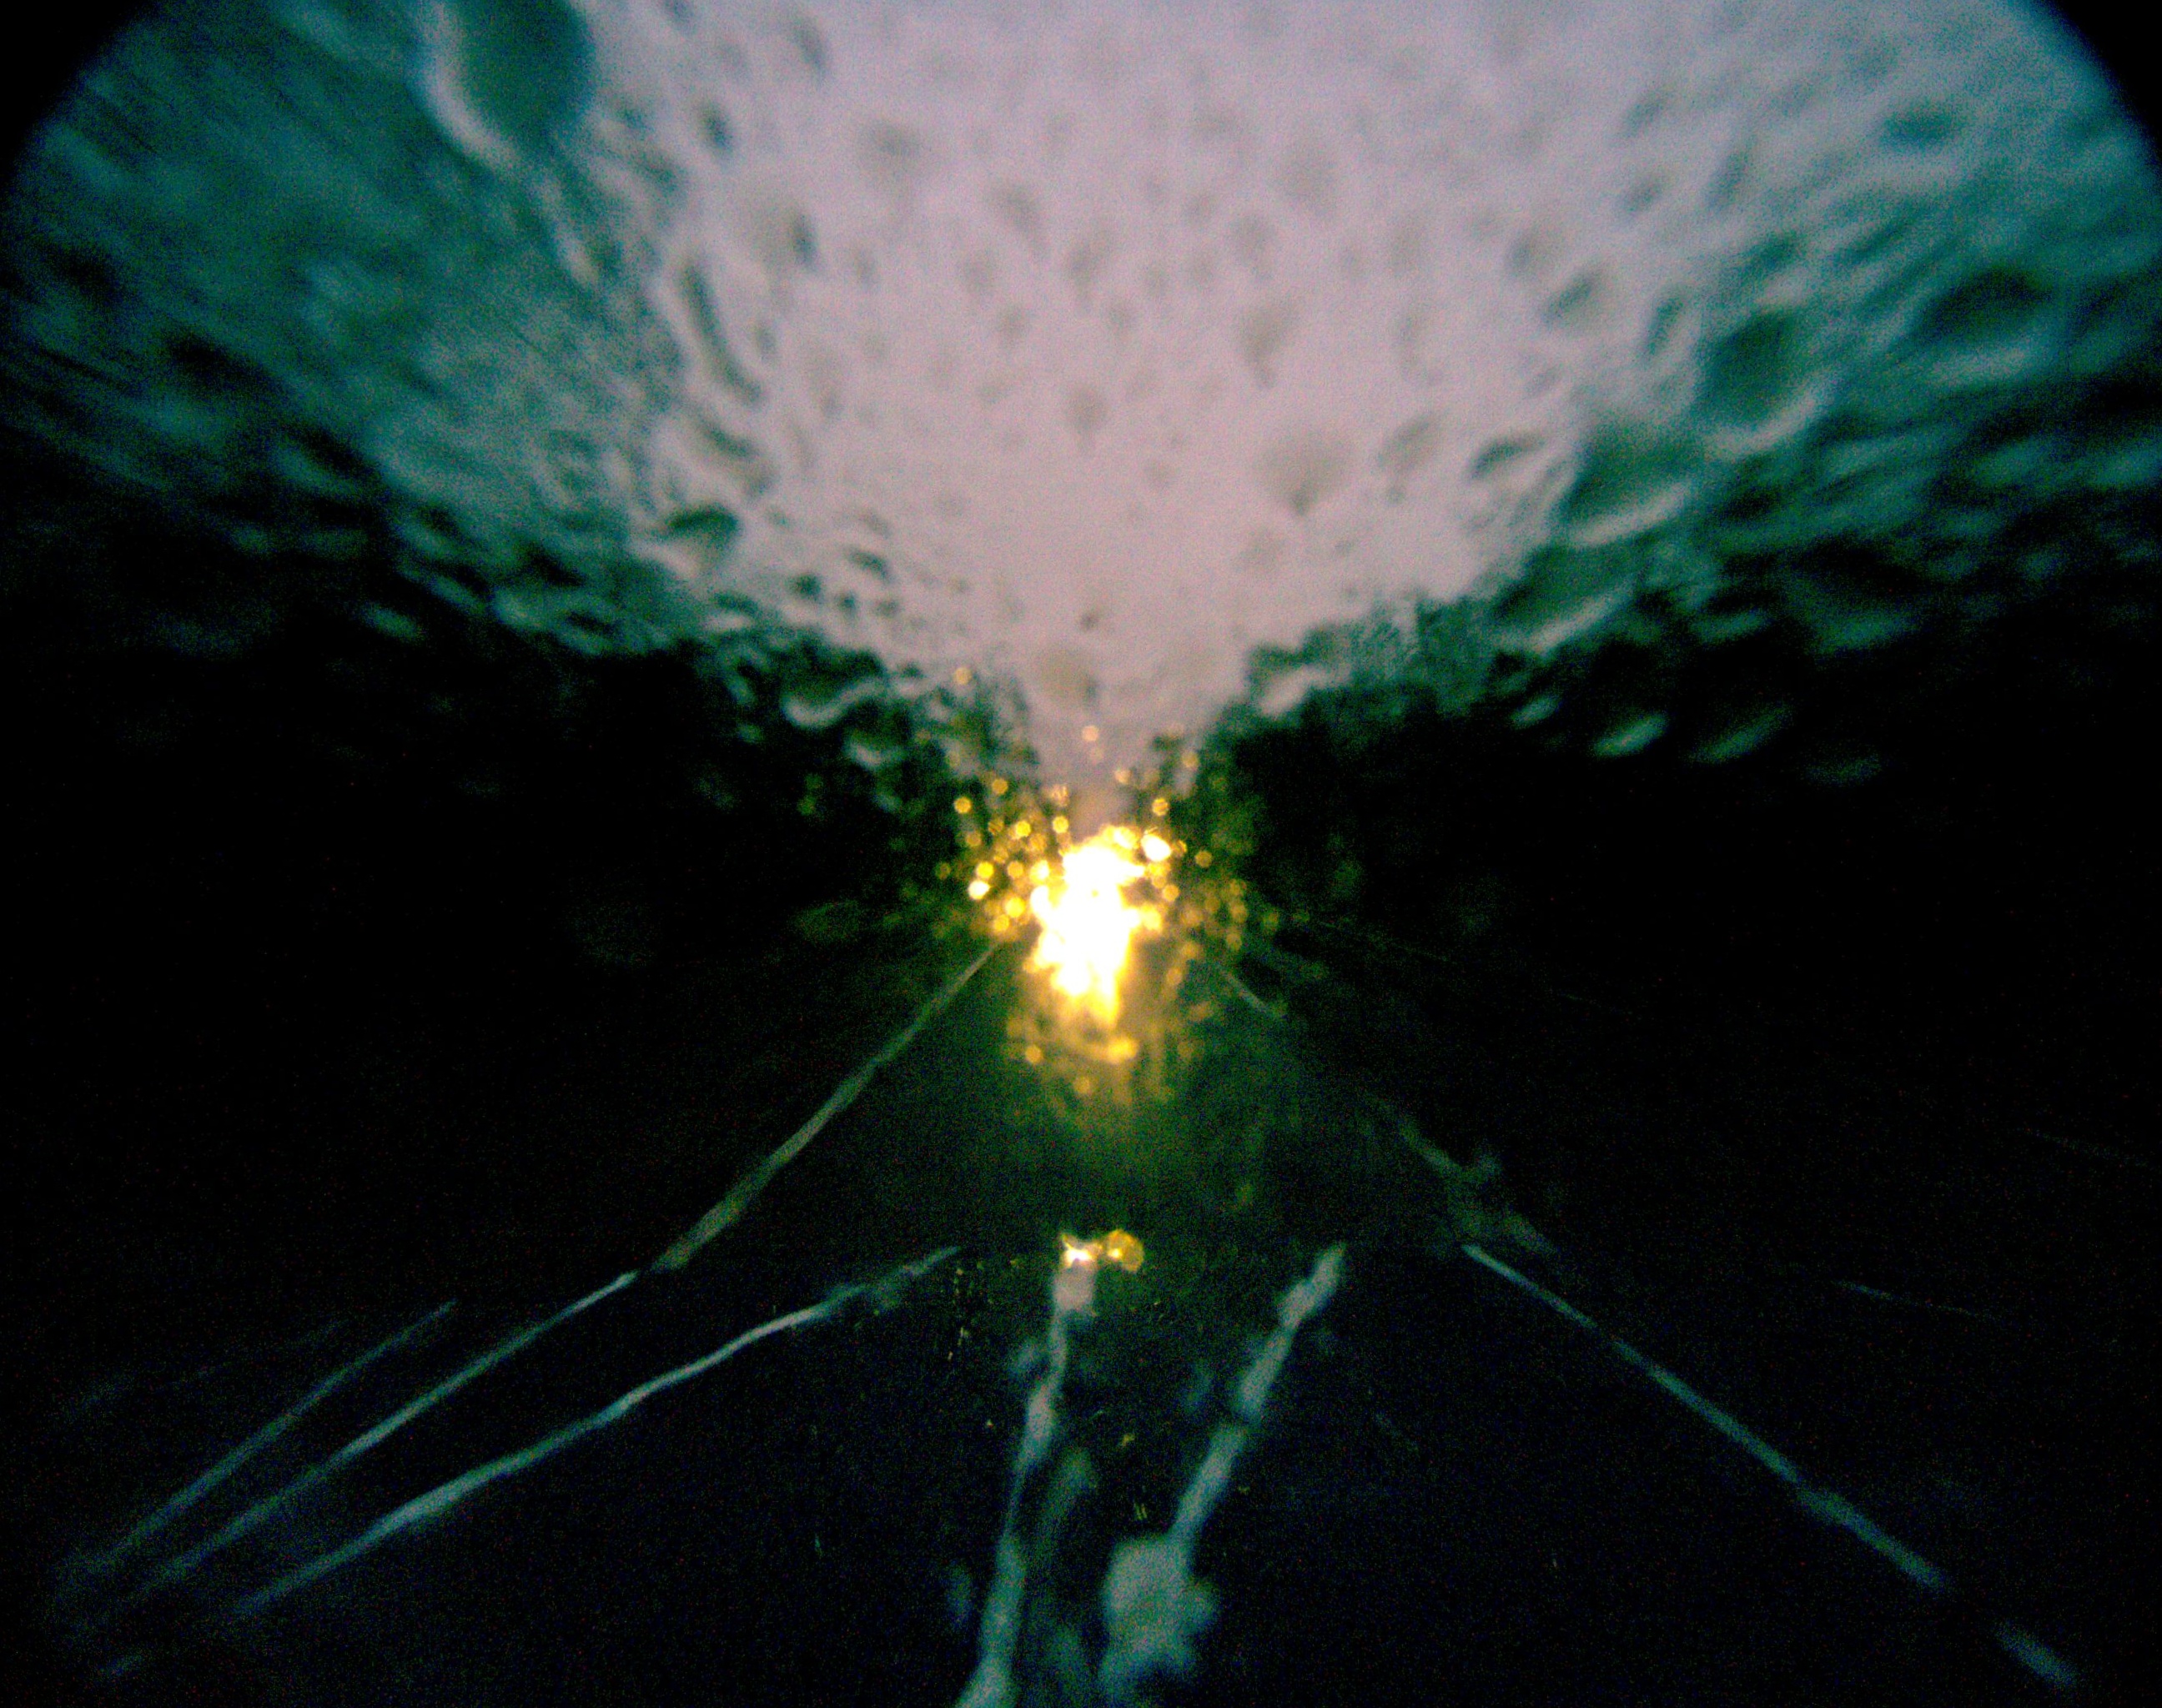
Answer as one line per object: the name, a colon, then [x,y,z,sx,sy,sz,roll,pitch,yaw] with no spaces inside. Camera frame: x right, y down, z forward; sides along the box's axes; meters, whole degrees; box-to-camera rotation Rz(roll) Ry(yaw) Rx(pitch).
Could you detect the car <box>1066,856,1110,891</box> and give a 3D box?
car: [0.345,0.831,34.177,1.845,1.390,4.000,-1,1,1]
